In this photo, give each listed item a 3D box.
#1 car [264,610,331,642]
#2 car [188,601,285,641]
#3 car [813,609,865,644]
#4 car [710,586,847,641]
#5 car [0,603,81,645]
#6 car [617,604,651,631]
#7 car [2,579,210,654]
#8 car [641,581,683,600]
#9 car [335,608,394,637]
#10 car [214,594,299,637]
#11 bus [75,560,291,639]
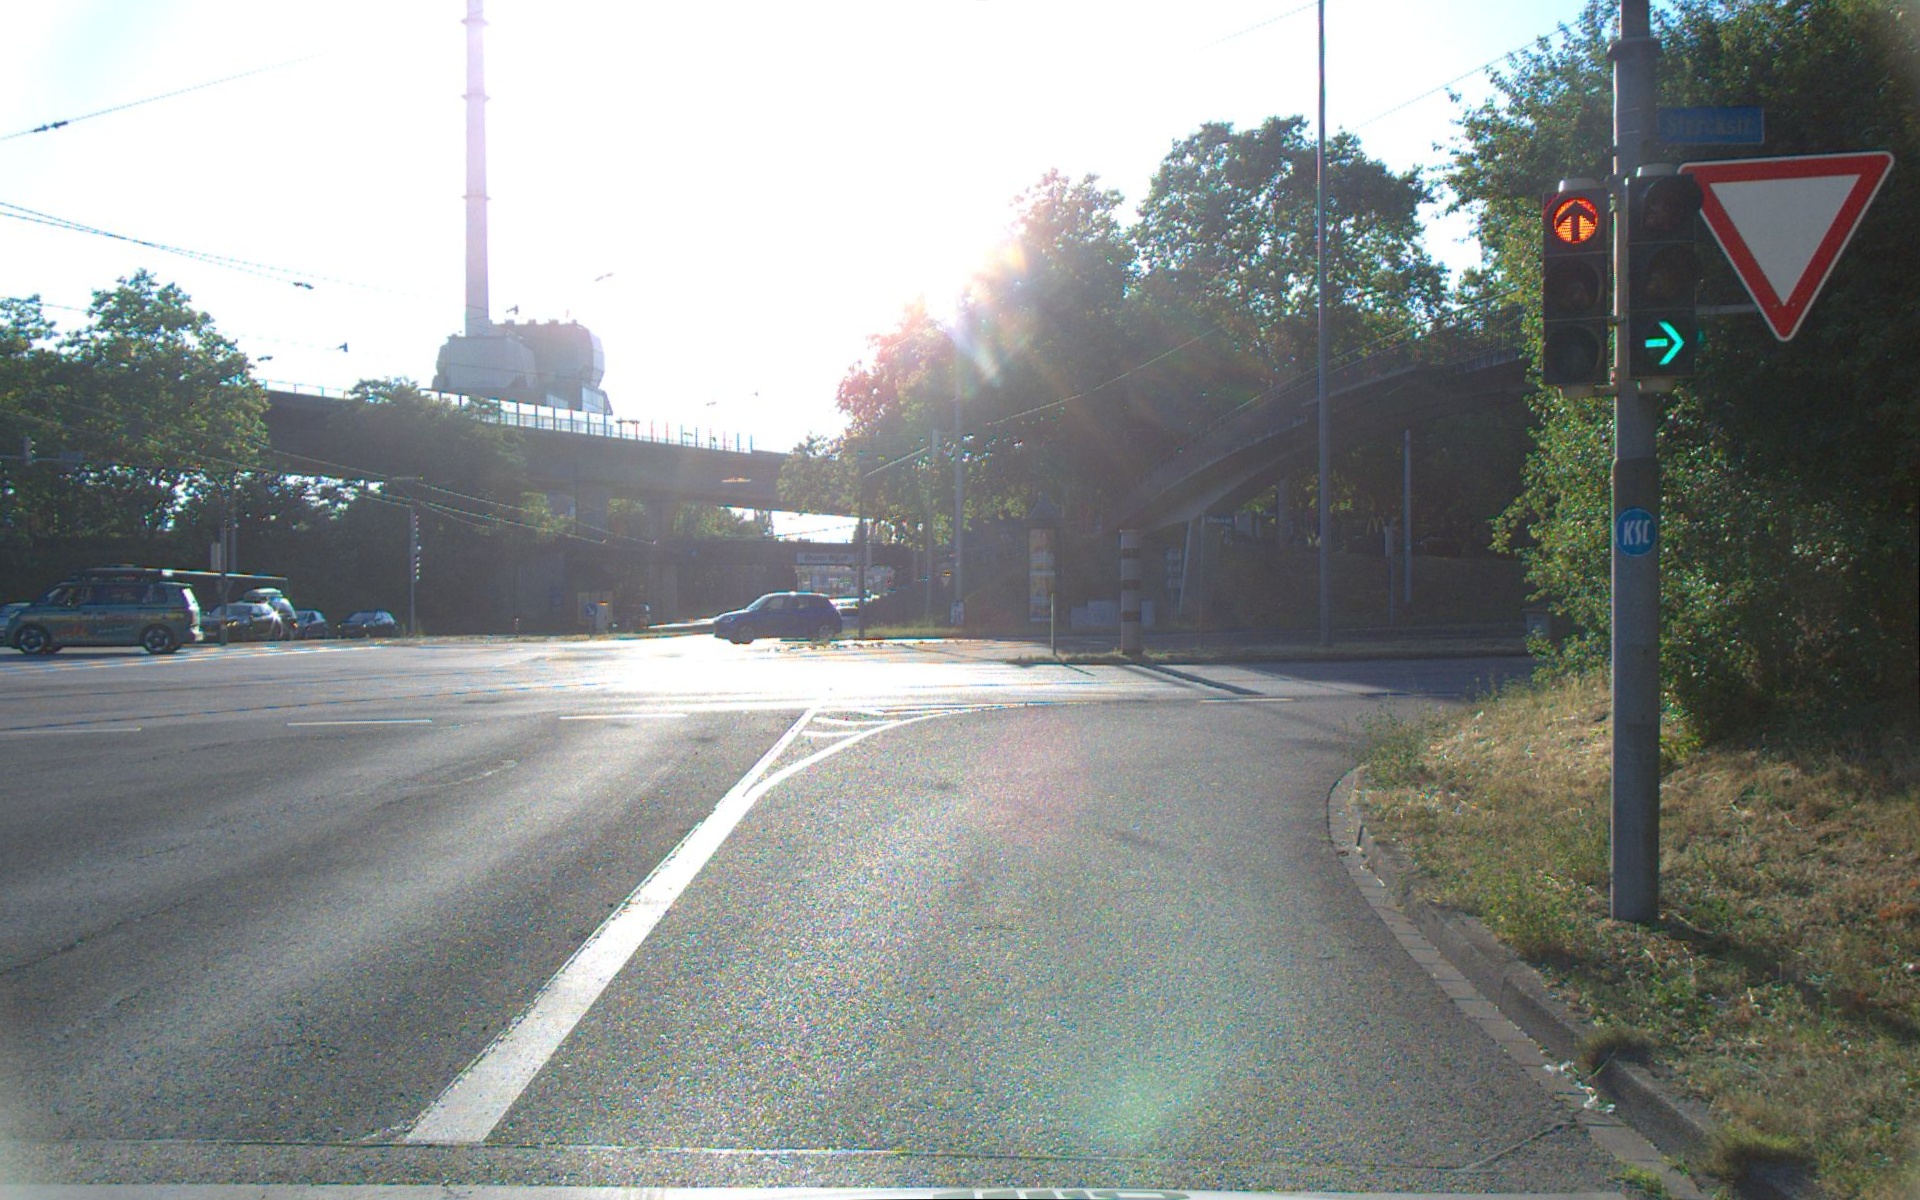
[{"bbox_3d":[-32.006,1.230,80.004,1.665,1.467,4.000,0,0,0],"label":"car"},{"bbox_3d":[-25.735,0.723,58.977,1.676,1.378,4.095,0,0,0],"label":"car"},{"bbox_3d":[-6.155,1.315,83.629,1.685,1.681,4.197,0,0,-18],"label":"car"},{"bbox_3d":[-5.472,0.394,49.739,3.859,1.586,1.991,0,0,-16],"label":"car"},{"bbox_3d":[-32.149,0.811,57.248,1.572,1.378,3.732,0,0,-3],"label":"car"},{"bbox_3d":[-20.469,1.072,103.970,1.677,1.681,4.091,0,0,-5],"label":"car"},{"bbox_3d":[-22.683,0.423,44.138,4.615,1.939,1.991,0,0,-17],"label":"car"},{"bbox_3d":[-29.755,-0.960,165.017,1.957,1.802,3.991,1,0,31],"label":"car"},{"bbox_3d":[-31.220,1.172,86.790,1.665,1.467,4.000,0,0,0],"label":"car"},{"bbox_3d":[-28.239,0.607,66.529,1.676,1.681,4.095,0,0,0],"label":"car"},{"bbox_3d":[-32.120,-0.022,69.288,2.764,3.006,12.855,0,0,1],"label":"bus"}]
